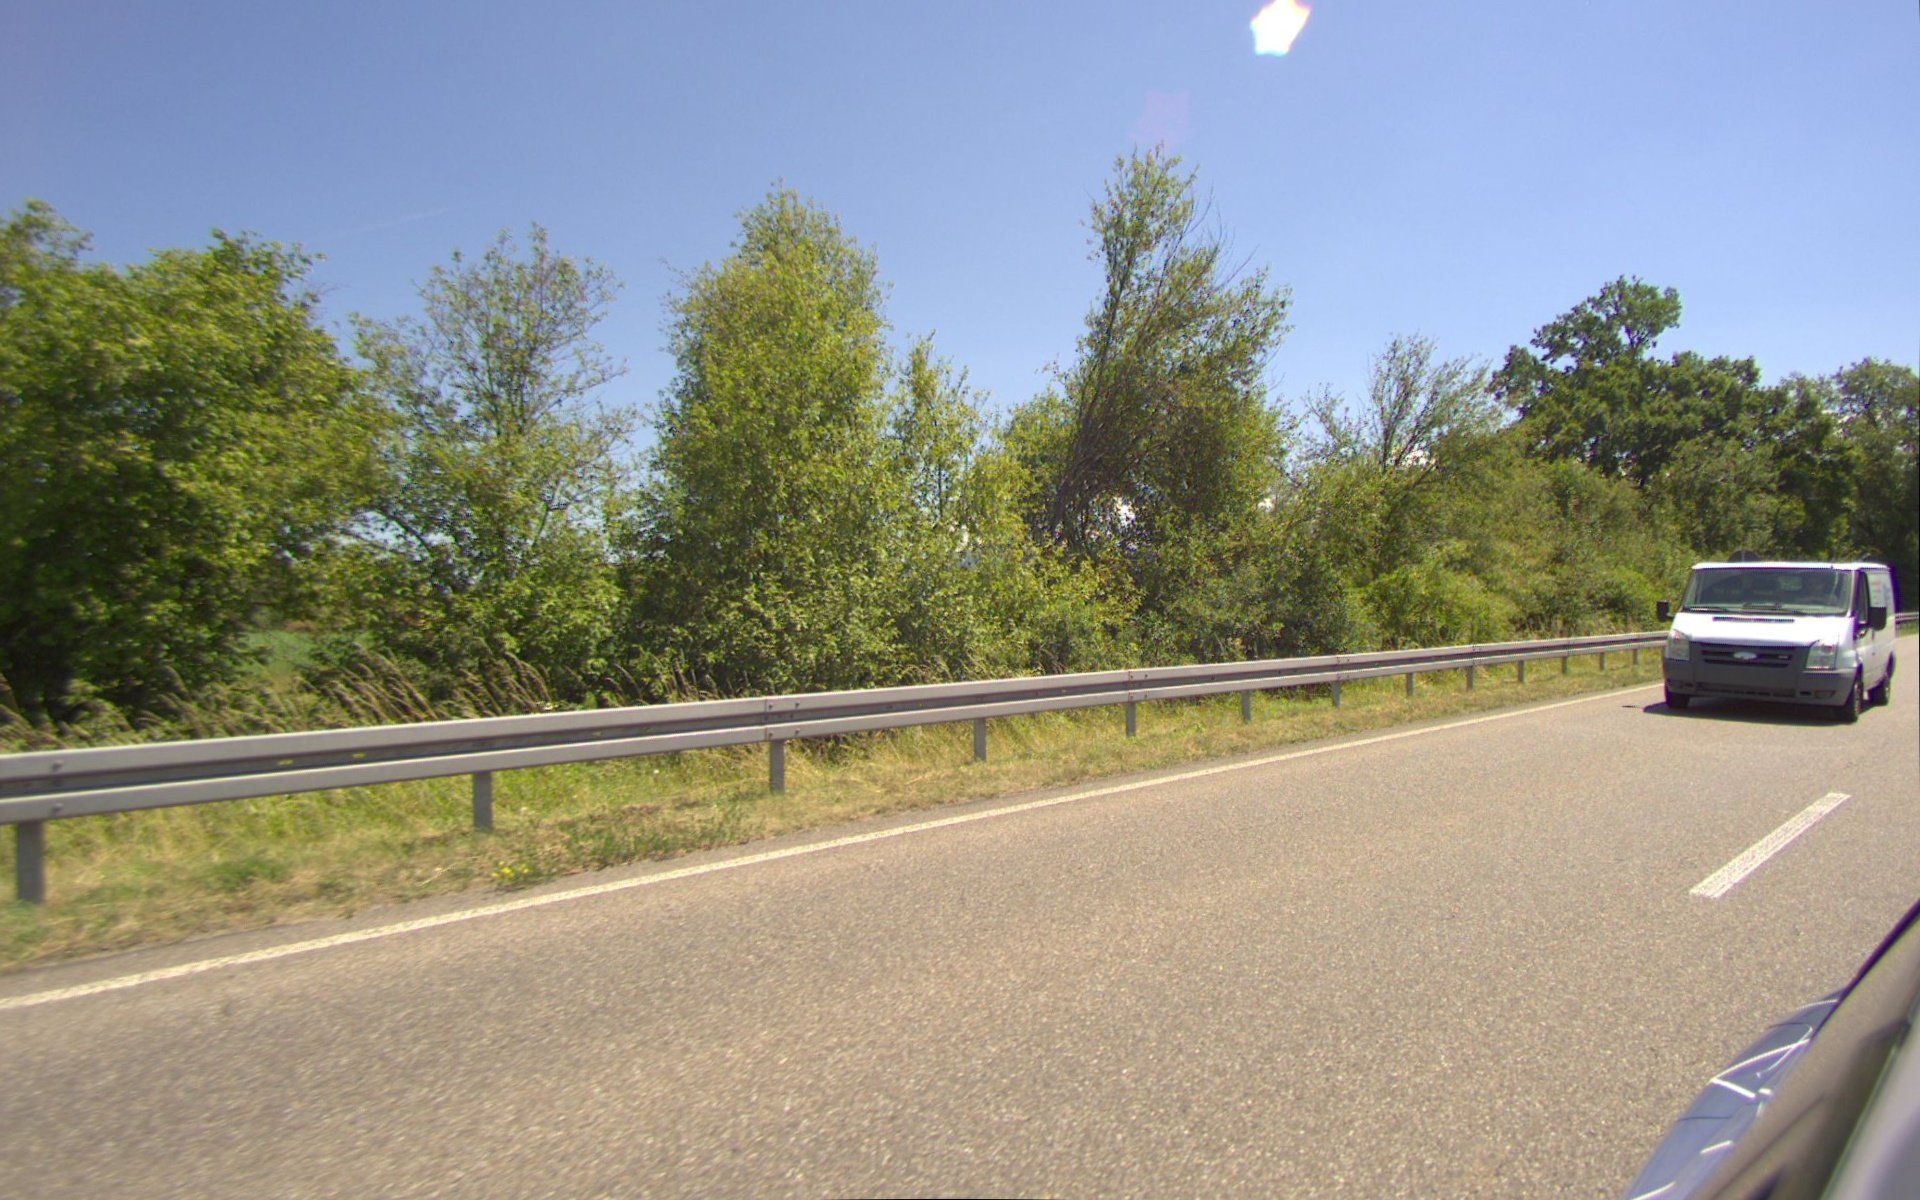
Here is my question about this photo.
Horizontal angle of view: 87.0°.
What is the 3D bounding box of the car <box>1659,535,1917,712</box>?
[{"bbox_3d":[11.477,0.286,13.889,4.948,2.014,2.008,1,-1,-42],"label":"car"}]
